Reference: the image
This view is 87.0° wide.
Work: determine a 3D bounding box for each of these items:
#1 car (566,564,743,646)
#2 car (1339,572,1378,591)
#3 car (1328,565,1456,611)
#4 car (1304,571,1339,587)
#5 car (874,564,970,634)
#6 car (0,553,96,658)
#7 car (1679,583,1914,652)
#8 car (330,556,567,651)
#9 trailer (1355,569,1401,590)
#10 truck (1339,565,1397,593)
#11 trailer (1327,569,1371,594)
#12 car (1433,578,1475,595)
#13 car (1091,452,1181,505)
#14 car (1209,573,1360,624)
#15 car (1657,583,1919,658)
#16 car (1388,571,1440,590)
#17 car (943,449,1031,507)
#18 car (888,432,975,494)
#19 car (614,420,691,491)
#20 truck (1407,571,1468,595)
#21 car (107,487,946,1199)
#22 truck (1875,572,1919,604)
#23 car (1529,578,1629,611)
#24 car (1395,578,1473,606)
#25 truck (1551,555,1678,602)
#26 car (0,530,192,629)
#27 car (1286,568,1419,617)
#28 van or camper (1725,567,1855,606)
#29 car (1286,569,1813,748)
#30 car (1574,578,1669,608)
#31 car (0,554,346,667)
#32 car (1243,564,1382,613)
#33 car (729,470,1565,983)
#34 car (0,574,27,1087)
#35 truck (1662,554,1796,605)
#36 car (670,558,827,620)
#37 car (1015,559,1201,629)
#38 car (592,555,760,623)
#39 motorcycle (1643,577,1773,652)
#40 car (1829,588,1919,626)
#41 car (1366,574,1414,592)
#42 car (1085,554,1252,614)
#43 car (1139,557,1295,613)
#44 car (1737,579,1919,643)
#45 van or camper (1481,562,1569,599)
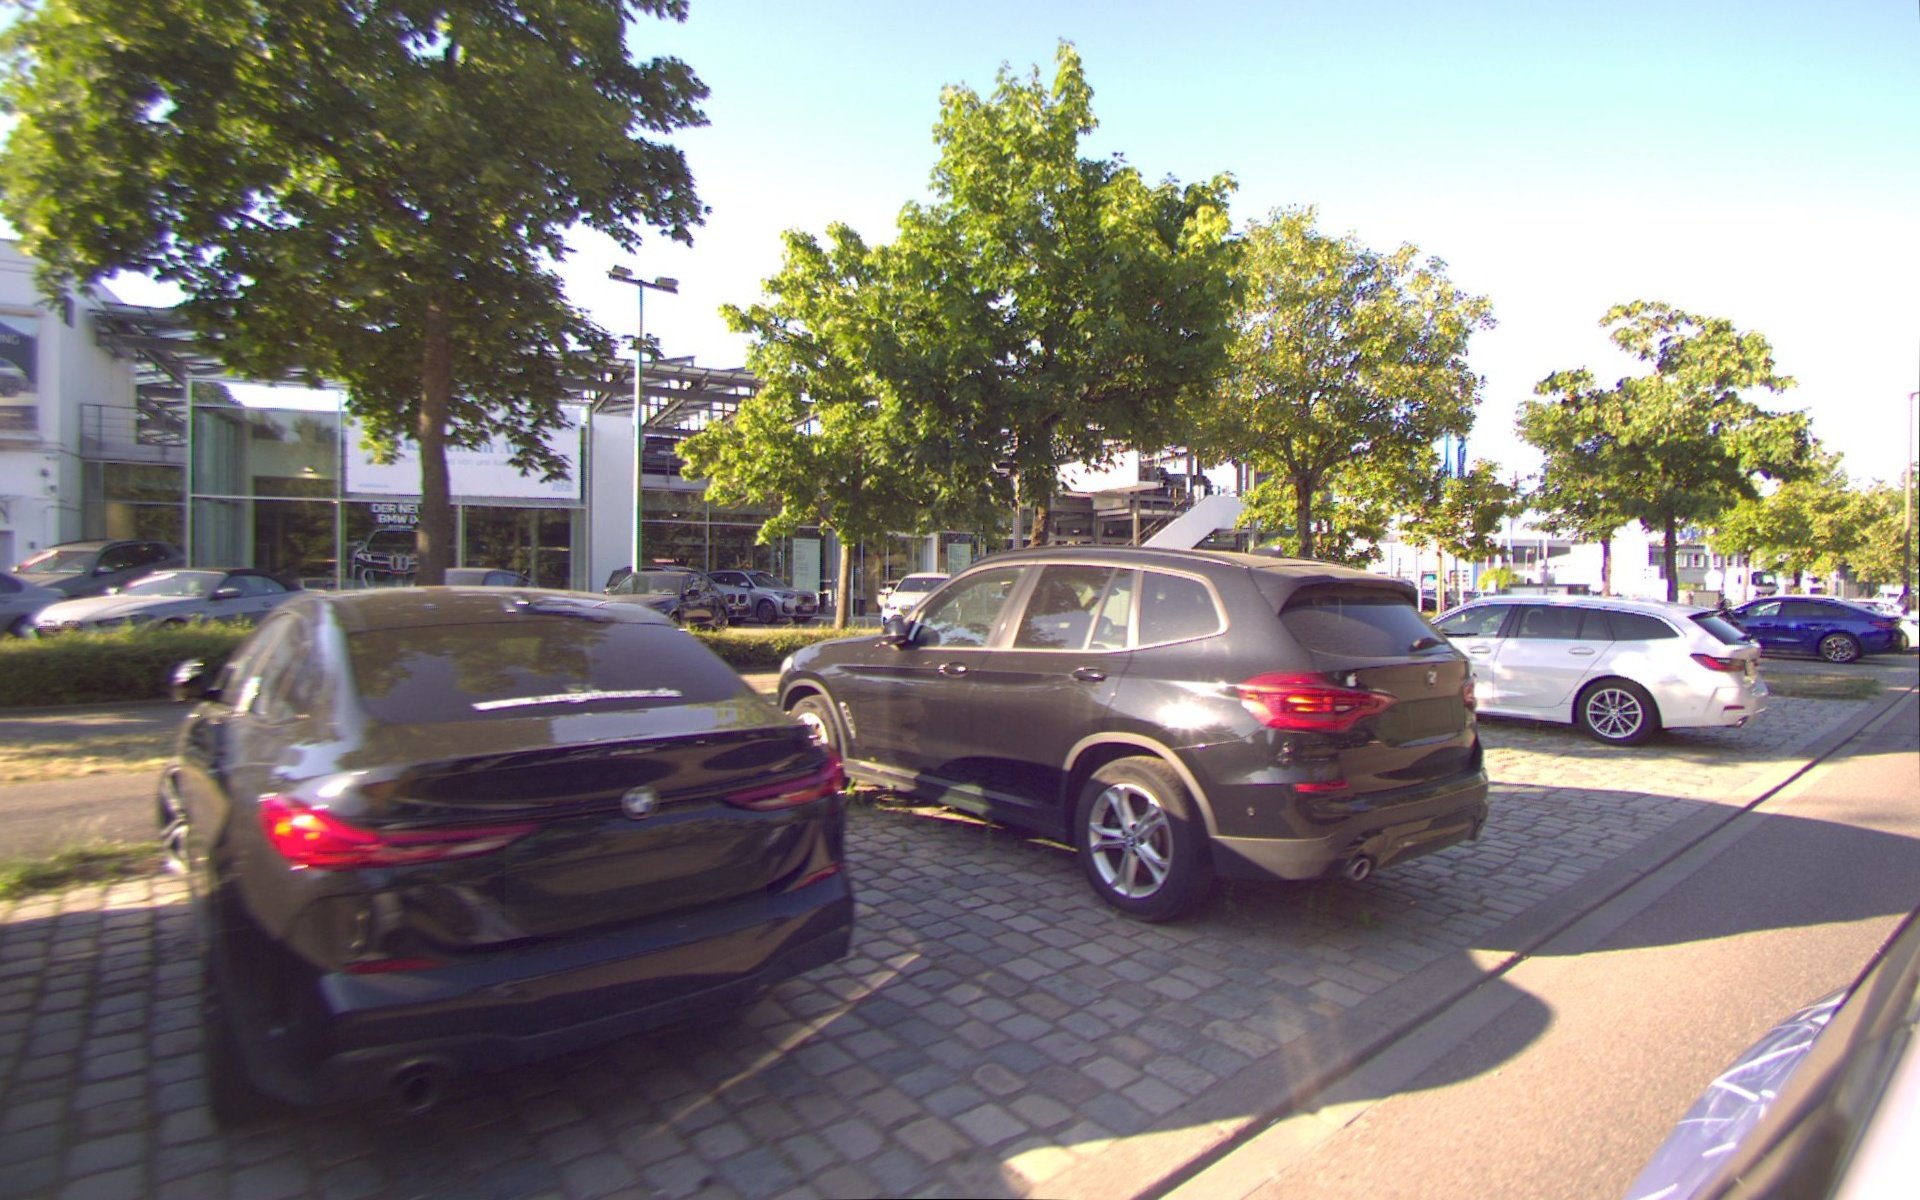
[{"bbox_3d":[-6.090,0.039,20.842,1.964,1.482,4.786,0,1,3],"label":"car"},{"bbox_3d":[48.960,-2.233,124.261,3.917,2.306,2.092,0,1,-10],"label":"car"},{"bbox_3d":[17.183,-0.509,40.454,4.552,1.687,1.985,2,2,23],"label":"car"},{"bbox_3d":[47.690,-2.791,133.520,3.917,2.039,2.004,0,1,-11],"label":"car"},{"bbox_3d":[-0.838,-0.075,25.748,1.964,1.591,5.187,0,1,3],"label":"car"},{"bbox_3d":[-14.601,0.087,13.573,2.007,1.482,4.791,0,1,-1],"label":"car"},{"bbox_3d":[21.290,0.366,25.896,1.966,1.497,4.383,0,2,-42],"label":"car"},{"bbox_3d":[-9.024,0.004,18.406,1.962,1.482,4.791,0,1,-1],"label":"car"},{"bbox_3d":[50.416,-2.480,122.199,4.757,2.467,2.004,0,1,-10],"label":"trailer"},{"bbox_3d":[55.628,-2.849,138.134,6.966,3.620,2.682,0,1,-10],"label":"truck"},{"bbox_3d":[49.012,-2.329,127.578,4.757,3.107,2.004,0,1,-10],"label":"trailer"},{"bbox_3d":[60.238,-1.673,123.358,3.917,2.039,2.398,0,1,-10],"label":"car"},{"bbox_3d":[7.618,-5.250,44.129,1.751,1.688,4.003,0,-2,-29],"label":"car"},{"bbox_3d":[10.910,-0.078,34.076,4.566,1.594,1.979,1,1,30],"label":"car"},{"bbox_3d":[19.418,0.392,23.821,1.966,1.474,4.632,0,2,-42],"label":"car"},{"bbox_3d":[50.413,-2.150,112.378,4.946,2.040,2.003,0,-2,-12],"label":"car"},{"bbox_3d":[1.026,-4.828,40.666,1.751,1.688,4.003,0,-2,-29],"label":"car"},{"bbox_3d":[-1.168,-5.262,39.362,1.751,1.688,4.004,0,-2,-28],"label":"car"},{"bbox_3d":[-10.523,-4.842,34.464,1.751,1.688,4.003,0,-2,-29],"label":"car"},{"bbox_3d":[59.471,-2.108,126.026,6.966,2.943,2.004,0,1,-10],"label":"truck"},{"bbox_3d":[-2.242,0.545,4.224,1.998,1.570,4.490,0,1,-40],"label":"car"},{"bbox_3d":[83.920,-1.048,89.375,5.848,2.754,2.551,0,1,-26],"label":"truck"},{"bbox_3d":[31.750,-0.312,52.044,1.958,1.598,4.008,0,1,-23],"label":"car"},{"bbox_3d":[29.592,-0.516,63.308,2.116,1.598,4.008,-3,2,-23],"label":"car"},{"bbox_3d":[55.033,-1.800,85.593,3.228,3.690,10.134,0,1,-7],"label":"truck"},{"bbox_3d":[-20.060,-0.458,23.109,1.961,2.039,4.184,0,1,-1],"label":"car"},{"bbox_3d":[14.771,-0.322,38.263,4.551,1.687,1.986,2,2,22],"label":"car"},{"bbox_3d":[66.543,-1.108,81.424,2.881,2.936,8.027,0,1,-11],"label":"van or camper"},{"bbox_3d":[6.304,0.452,11.308,1.966,1.497,4.702,0,2,-42],"label":"car"},{"bbox_3d":[36.861,-0.418,56.518,1.958,1.598,4.008,0,1,-23],"label":"car"},{"bbox_3d":[-11.965,0.087,15.787,1.962,1.482,4.791,0,1,-1],"label":"car"},{"bbox_3d":[12.607,-0.446,36.297,4.551,1.593,1.986,2,2,22],"label":"car"},{"bbox_3d":[0.612,0.404,6.040,2.151,1.773,4.708,0,1,-37],"label":"car"},{"bbox_3d":[-3.575,0.641,2.333,1.999,1.421,4.488,0,1,-42],"label":"car"},{"bbox_3d":[56.999,-1.499,75.375,3.052,3.566,8.264,0,1,-6],"label":"truck"},{"bbox_3d":[-6.570,-0.365,31.257,4.753,1.796,1.977,1,1,32],"label":"car"},{"bbox_3d":[4.116,-0.206,27.947,4.673,1.711,2.394,2,2,22],"label":"car"},{"bbox_3d":[-8.142,-0.355,28.880,4.753,1.796,1.977,1,1,32],"label":"car"},{"bbox_3d":[15.705,0.267,21.332,2.115,1.484,0.939,1,1,33],"label":"motorcycle"},{"bbox_3d":[39.113,0.297,42.165,2.053,1.461,4.203,0,3,-43],"label":"car"},{"bbox_3d":[50.178,-1.942,118.086,4.946,2.039,2.004,0,1,-12],"label":"car"},{"bbox_3d":[6.167,-0.504,29.885,4.551,1.593,1.986,2,2,22],"label":"car"},{"bbox_3d":[8.123,-0.496,31.983,4.551,1.593,1.986,2,2,22],"label":"car"},{"bbox_3d":[24.958,0.258,28.526,1.968,1.604,4.594,0,3,-45],"label":"car"},{"bbox_3d":[54.130,-1.906,97.252,2.364,3.370,8.156,0,1,-15],"label":"van or camper"}]
